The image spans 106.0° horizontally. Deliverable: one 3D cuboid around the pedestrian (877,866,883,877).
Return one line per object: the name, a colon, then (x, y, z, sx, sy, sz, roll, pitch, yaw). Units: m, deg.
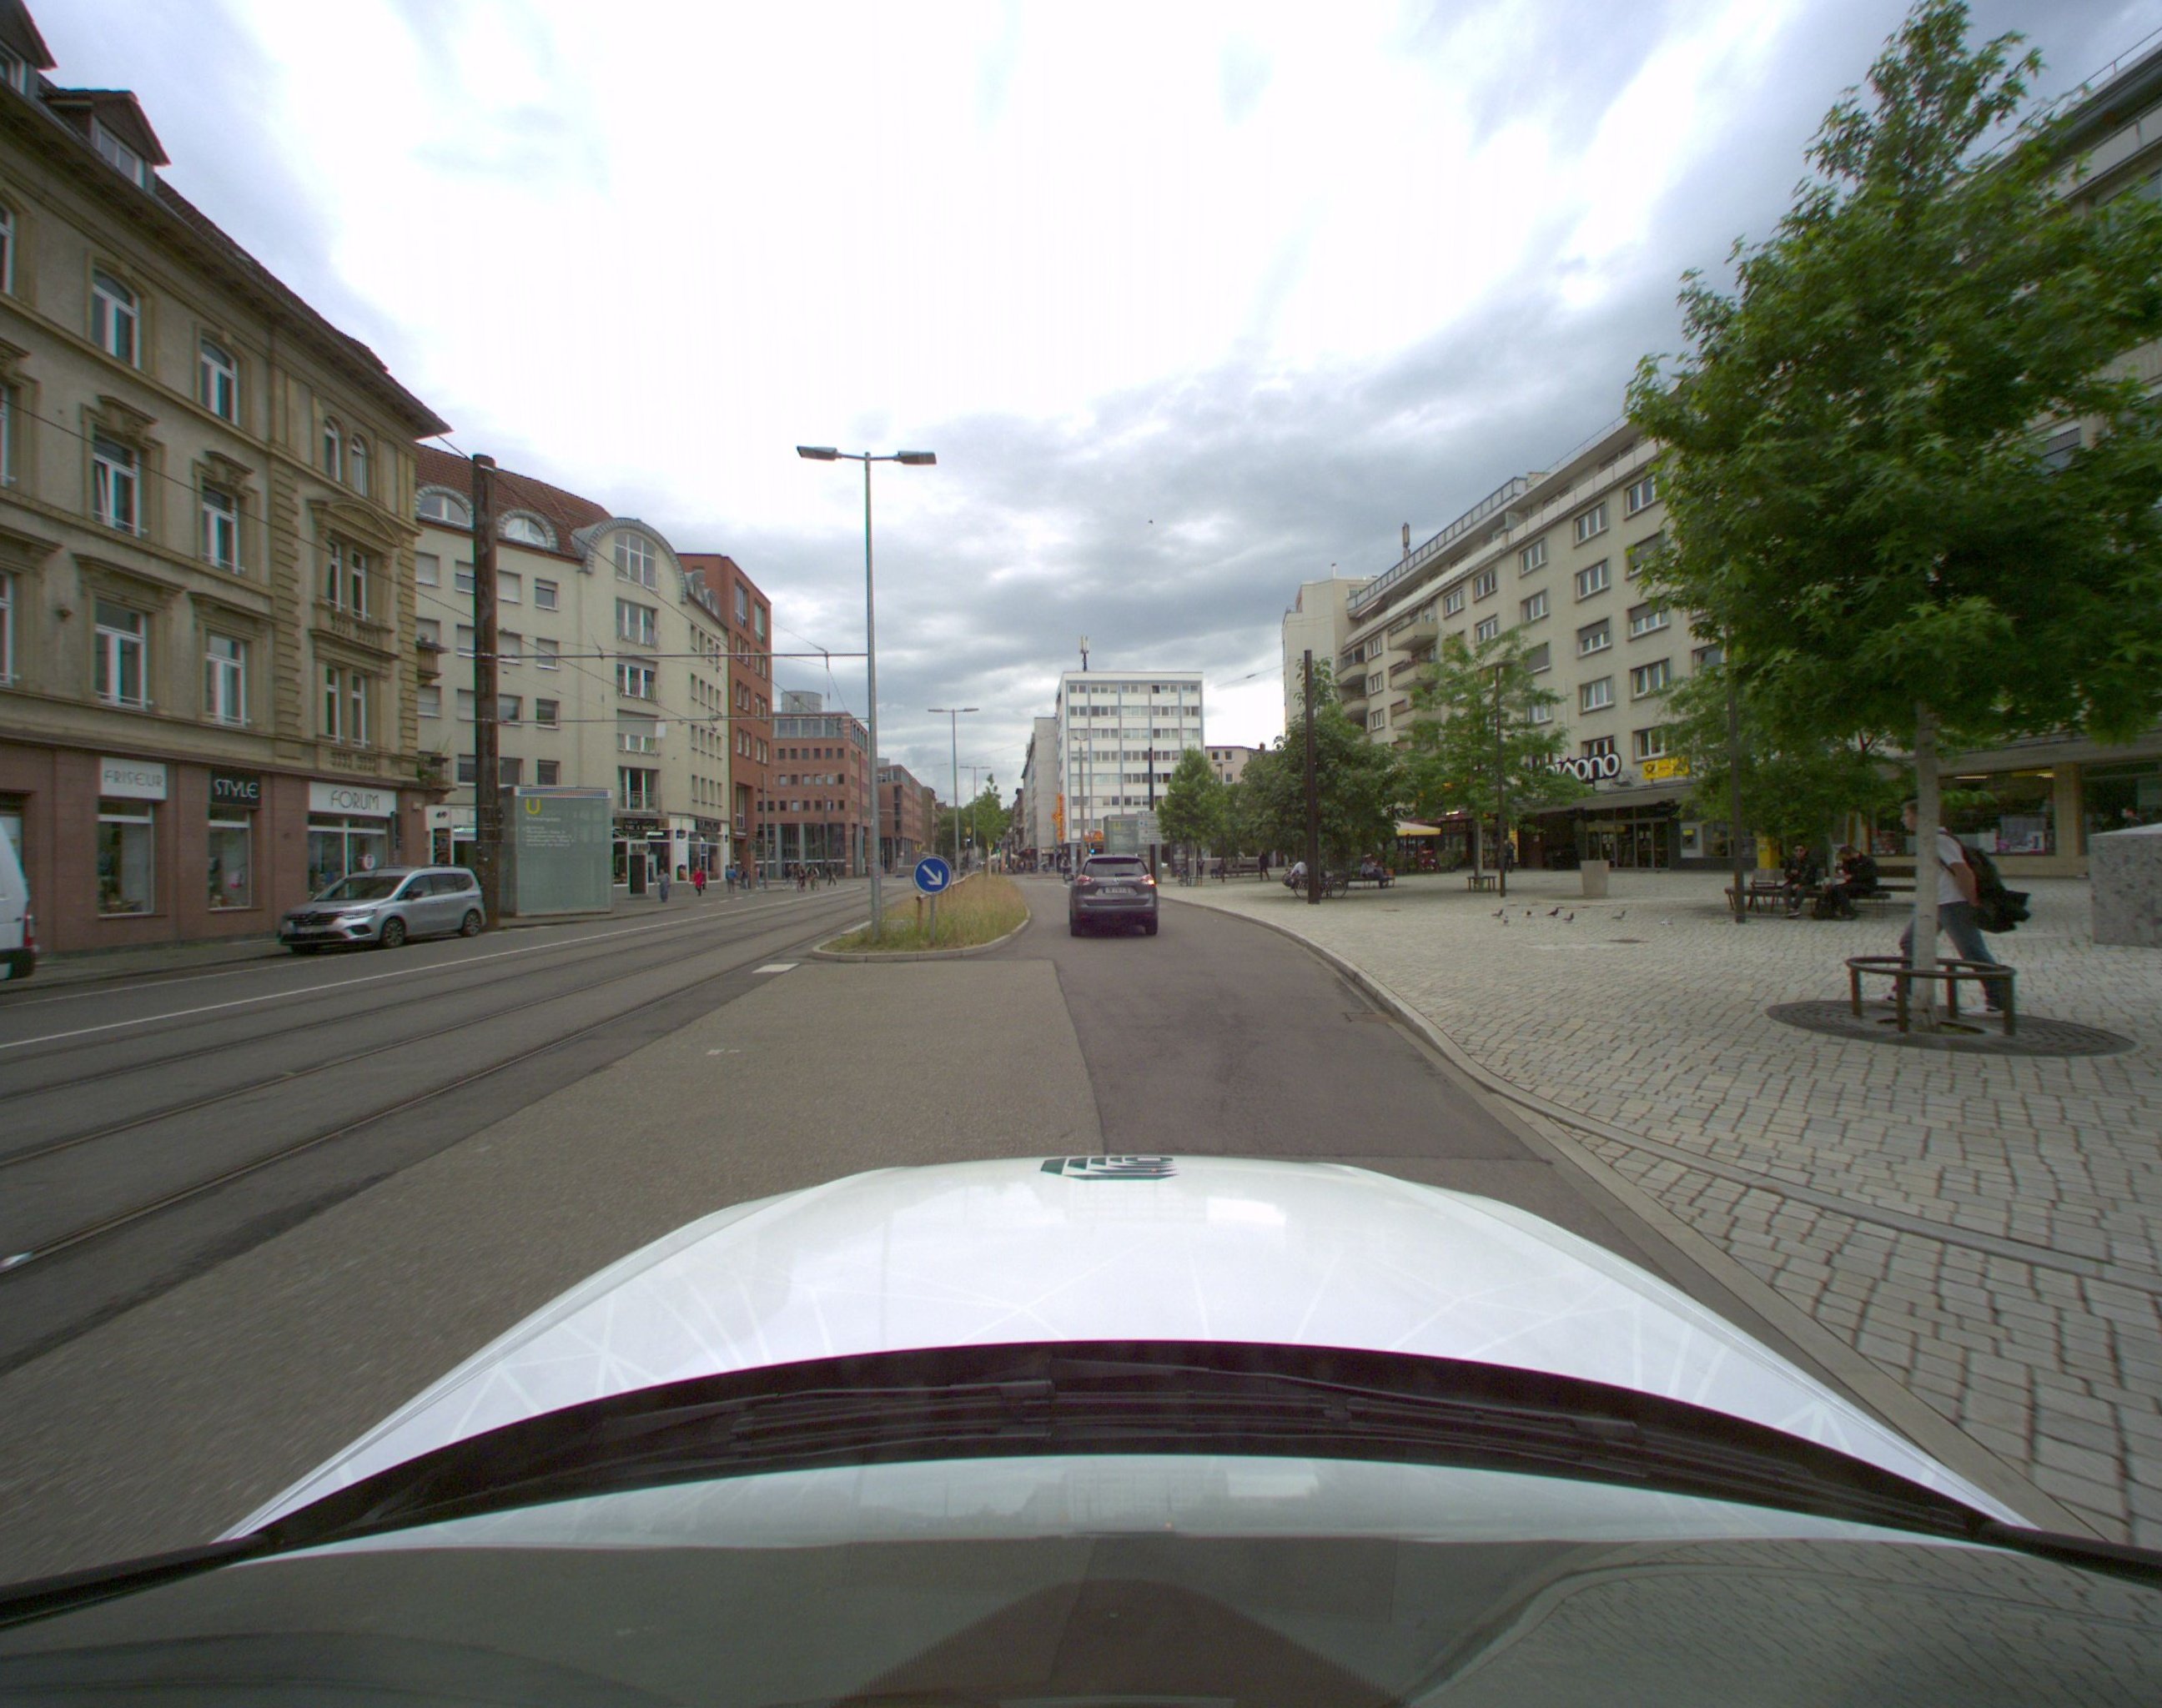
pedestrian: (-31.705, 2.740, 128.490, 0.737, 1.842, 0.695, 0, -1, -31)

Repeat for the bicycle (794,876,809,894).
bicycle: (-17.283, 1.920, 50.368, 0.479, 1.021, 1.907, -2, -1, -7)

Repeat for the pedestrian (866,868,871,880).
pedestrian: (-27.805, 2.579, 106.575, 0.451, 1.532, 0.518, 0, -1, -24)

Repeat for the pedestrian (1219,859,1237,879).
pedestrian: (10.281, 1.055, 57.060, 1.041, 1.297, 0.732, -3, -1, -1)

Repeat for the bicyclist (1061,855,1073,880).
bicyclist: (-1.029, 0.983, 59.782, 0.832, 1.812, 0.876, 0, -1, -4)

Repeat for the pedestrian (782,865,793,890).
pedestrian: (-21.853, 1.754, 60.651, 0.610, 1.890, 0.797, -1, -2, -8)

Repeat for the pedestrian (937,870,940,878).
pedestrian: (-30.252, 4.194, 172.965, 0.601, 1.714, 0.652, 0, -1, -13)

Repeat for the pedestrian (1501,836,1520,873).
pedestrian: (22.074, 0.052, 41.821, 0.766, 1.885, 0.858, -1, -1, 32)

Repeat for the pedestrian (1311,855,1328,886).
pedestrian: (10.493, 0.721, 35.866, 0.624, 1.366, 0.922, -1, -1, 11)

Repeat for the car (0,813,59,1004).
car: (-14.818, 0.735, 8.278, 2.051, 2.487, 5.651, -4, 0, -7)

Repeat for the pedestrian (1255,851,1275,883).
pedestrian: (10.851, 0.778, 48.136, 0.713, 1.802, 1.075, -4, -1, -7)

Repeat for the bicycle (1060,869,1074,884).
bicycle: (-1.024, 1.652, 59.888, 0.900, 1.045, 3.273, -1, -1, -3)

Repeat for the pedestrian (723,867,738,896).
pedestrian: (-20.565, 1.611, 47.758, 0.661, 1.687, 0.719, -1, -2, -15)

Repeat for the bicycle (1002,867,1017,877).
bicycle: (-9.214, 2.318, 104.501, 1.874, 1.172, 0.527, 0, -1, -21)

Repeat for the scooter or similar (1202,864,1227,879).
scooter or similar: (9.415, 1.238, 57.364, 1.571, 0.948, 0.729, -4, -1, 32)

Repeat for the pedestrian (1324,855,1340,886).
pedestrian: (11.196, 0.732, 36.393, 0.539, 1.366, 1.284, -1, -1, 12)

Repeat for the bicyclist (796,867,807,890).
bicyclist: (-17.318, 1.528, 50.426, 0.478, 1.407, 0.810, -2, -1, -8)

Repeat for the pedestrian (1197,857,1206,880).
pedestrian: (9.482, 1.160, 64.257, 0.667, 1.762, 0.643, 0, -1, 9)

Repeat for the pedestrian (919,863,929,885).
pedestrian: (-12.150, 1.574, 63.007, 0.744, 1.684, 0.796, 1, -2, -11)

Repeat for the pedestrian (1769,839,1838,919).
pedestrian: (13.797, 0.475, 15.557, 0.783, 1.455, 0.760, -3, -1, -36)

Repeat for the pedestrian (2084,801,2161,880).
pedestrian: (24.350, -0.309, 18.912, 0.772, 1.772, 1.061, -2, 0, -17)

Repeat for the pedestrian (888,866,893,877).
pedestrian: (-29.938, 2.754, 127.983, 0.734, 1.842, 0.698, 0, -1, -19)

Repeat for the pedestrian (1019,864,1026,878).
pedestrian: (-7.427, 2.133, 103.801, 0.733, 1.746, 0.660, 0, -1, -14)

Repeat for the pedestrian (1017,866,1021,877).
pedestrian: (-9.684, 2.642, 126.475, 0.642, 1.705, 0.558, 0, -1, -5)

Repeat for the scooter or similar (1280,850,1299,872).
scooter or similar: (17.767, 0.614, 69.494, 1.079, 1.806, 2.275, -2, -1, 3)

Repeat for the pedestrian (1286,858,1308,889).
pedestrian: (9.443, 0.848, 35.552, 0.631, 1.366, 0.682, 0, -1, -25)

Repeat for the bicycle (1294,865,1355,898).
bicycle: (8.253, 0.928, 27.646, 1.905, 1.123, 0.646, 0, -1, 4)

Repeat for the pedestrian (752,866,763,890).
pedestrian: (-22.790, 1.709, 57.385, 0.569, 1.684, 0.796, 1, -2, -10)

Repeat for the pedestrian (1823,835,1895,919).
pedestrian: (14.214, 0.418, 14.882, 0.783, 1.455, 0.760, -3, -1, -36)

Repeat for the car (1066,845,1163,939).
car: (0.658, 0.808, 18.410, 1.857, 1.775, 4.565, -2, -1, 0)

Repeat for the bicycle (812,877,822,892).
bicycle: (-17.629, 2.027, 54.318, 0.478, 1.021, 1.898, -1, -1, -21)

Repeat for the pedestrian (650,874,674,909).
pedestrian: (-21.068, 1.884, 40.946, 0.715, 1.687, 0.828, -2, -2, 14)

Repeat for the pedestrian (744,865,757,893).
pedestrian: (-20.225, 1.543, 49.898, 0.662, 1.687, 0.718, -1, -2, -19)

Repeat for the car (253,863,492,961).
car: (-15.940, 1.204, 18.724, 1.901, 1.864, 4.508, -3, -1, -8)

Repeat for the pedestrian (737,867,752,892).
pedestrian: (-23.235, 1.736, 56.213, 0.872, 1.687, 0.657, -1, -2, -21)

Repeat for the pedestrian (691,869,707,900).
pedestrian: (-21.180, 1.672, 45.171, 0.722, 1.687, 0.658, -1, -2, -17)

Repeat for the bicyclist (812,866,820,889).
bicyclist: (-17.747, 1.588, 54.562, 0.493, 1.540, 0.806, -1, -1, -20)

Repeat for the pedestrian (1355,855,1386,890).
pedestrian: (11.699, 0.747, 32.926, 0.627, 1.366, 1.406, 0, -1, -7)

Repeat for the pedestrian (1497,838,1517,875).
pedestrian: (21.210, 0.115, 40.544, 0.766, 1.751, 0.722, -4, -1, 32)

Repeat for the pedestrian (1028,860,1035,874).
pedestrian: (-6.385, 1.679, 104.959, 0.714, 1.832, 1.012, 0, -1, -14)

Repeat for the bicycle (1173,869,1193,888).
bicycle: (5.716, 1.358, 45.699, 0.652, 0.978, 1.764, -2, -1, 22)

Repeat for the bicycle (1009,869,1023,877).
bicycle: (-8.334, 2.433, 104.179, 1.701, 1.065, 0.434, 0, -1, -19)

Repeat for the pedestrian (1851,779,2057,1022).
pedestrian: (7.354, 0.364, 6.898, 0.869, 1.901, 0.771, -2, 0, -8)

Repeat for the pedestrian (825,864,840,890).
pedestrian: (-18.424, 1.724, 60.381, 0.896, 1.890, 0.797, 0, -2, -9)
